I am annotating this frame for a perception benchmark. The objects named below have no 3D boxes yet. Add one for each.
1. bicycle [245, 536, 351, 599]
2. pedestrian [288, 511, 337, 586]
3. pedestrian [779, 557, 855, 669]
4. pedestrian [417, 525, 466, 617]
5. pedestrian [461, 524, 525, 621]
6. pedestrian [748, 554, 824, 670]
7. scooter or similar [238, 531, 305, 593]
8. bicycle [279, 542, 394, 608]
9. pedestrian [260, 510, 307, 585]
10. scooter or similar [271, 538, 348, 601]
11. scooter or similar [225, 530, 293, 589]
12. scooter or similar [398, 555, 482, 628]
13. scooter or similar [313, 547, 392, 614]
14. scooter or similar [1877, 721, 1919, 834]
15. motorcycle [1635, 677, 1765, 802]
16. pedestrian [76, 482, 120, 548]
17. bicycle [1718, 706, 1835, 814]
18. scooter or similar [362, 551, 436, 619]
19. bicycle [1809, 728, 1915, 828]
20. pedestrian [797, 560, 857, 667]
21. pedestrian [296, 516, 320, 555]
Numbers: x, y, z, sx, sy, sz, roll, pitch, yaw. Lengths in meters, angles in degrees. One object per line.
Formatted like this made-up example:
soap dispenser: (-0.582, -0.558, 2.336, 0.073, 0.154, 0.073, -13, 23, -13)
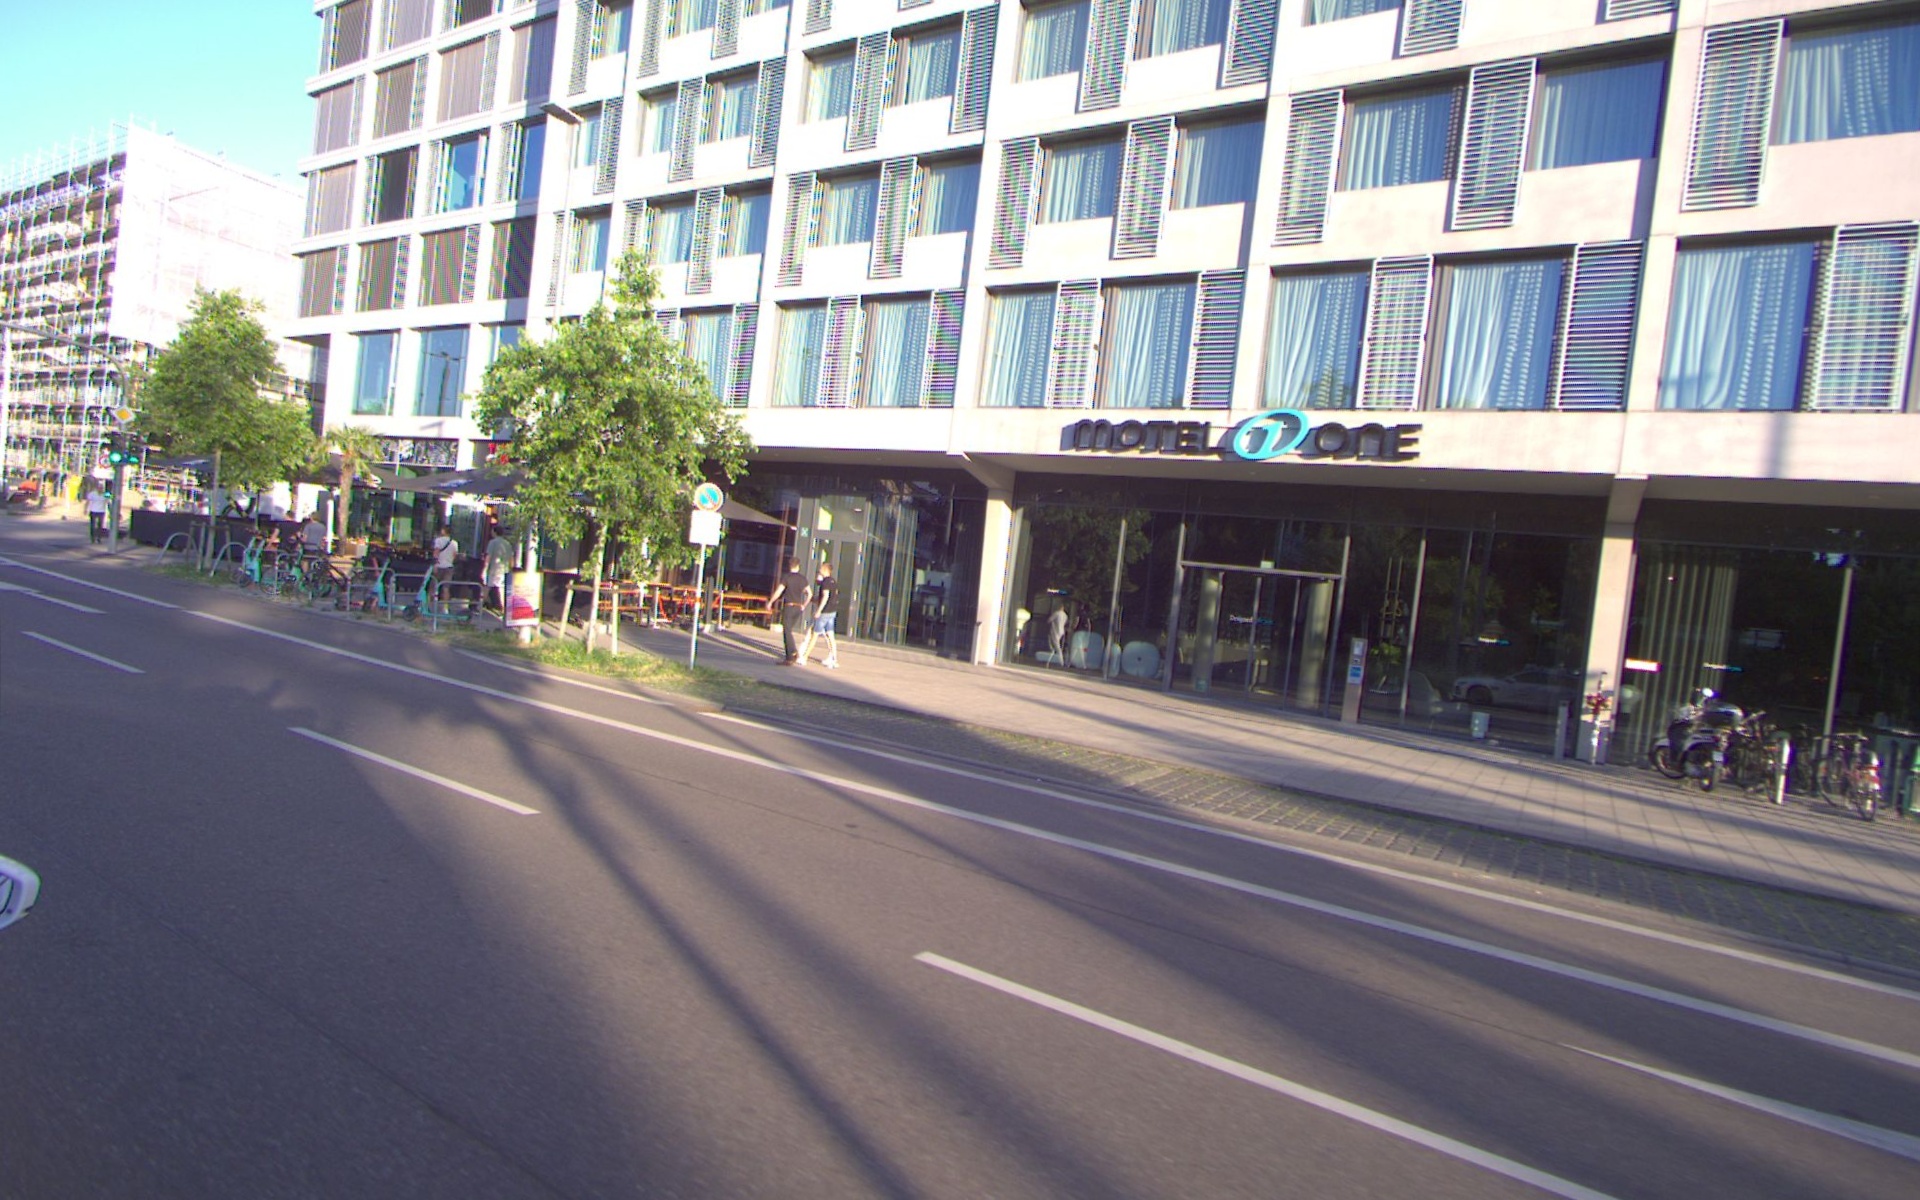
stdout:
bicycle: (-14.038, -0.674, 21.388, 0.558, 1.210, 1.795, 7, 3, 27)
pedestrian: (-16.213, -1.287, 25.190, 0.748, 1.758, 0.685, 8, 4, 31)
pedestrian: (-2.526, 0.230, 17.768, 0.927, 1.849, 0.754, 8, 4, 41)
pedestrian: (-10.626, -0.602, 20.617, 0.574, 1.810, 0.818, 3, 3, -44)
pedestrian: (-9.776, -0.574, 21.050, 0.854, 1.913, 0.822, 6, 3, 40)
pedestrian: (-3.007, 0.201, 17.348, 0.927, 1.874, 0.741, 8, 4, 41)
scooter or similar: (-14.999, -0.820, 21.917, 0.542, 1.240, 1.058, 8, 4, 41)
bicycle: (-12.610, -0.485, 20.402, 0.598, 1.198, 1.847, 8, 3, 31)
pedestrian: (-16.460, -1.273, 24.485, 0.677, 1.725, 0.653, 8, 4, 31)
scooter or similar: (-13.608, -0.632, 21.067, 0.472, 1.218, 1.210, 7, 3, 27)
scooter or similar: (-15.843, -0.906, 22.750, 0.588, 1.240, 1.052, 7, 3, 28)
scooter or similar: (-9.637, -0.152, 18.664, 1.283, 1.235, 0.530, 4, 3, -35)
scooter or similar: (-11.769, -0.370, 19.508, 0.501, 1.207, 1.155, 6, 2, 33)
scooter or similar: (12.019, 2.214, 12.408, 0.598, 1.250, 1.269, 8, 3, 28)
motorcycle: (10.323, 1.899, 14.127, 0.659, 1.405, 2.117, 8, 2, 18)
pedestrian: (-26.478, -2.607, 30.910, 0.667, 1.872, 0.769, 8, 2, 32)
bicycle: (11.089, 2.140, 13.732, 0.600, 1.170, 1.610, 7, 3, 19)
scooter or similar: (-10.868, -0.290, 19.494, 1.123, 1.230, 0.525, 3, 2, -43)
bicycle: (11.692, 2.277, 13.095, 0.541, 0.999, 1.701, 8, 2, 28)
pedestrian: (-2.412, 0.240, 18.246, 0.766, 1.837, 0.617, 8, 5, 41)
pedestrian: (-23.777, -2.357, 36.684, 0.609, 1.337, 0.613, 2, 5, -40)
